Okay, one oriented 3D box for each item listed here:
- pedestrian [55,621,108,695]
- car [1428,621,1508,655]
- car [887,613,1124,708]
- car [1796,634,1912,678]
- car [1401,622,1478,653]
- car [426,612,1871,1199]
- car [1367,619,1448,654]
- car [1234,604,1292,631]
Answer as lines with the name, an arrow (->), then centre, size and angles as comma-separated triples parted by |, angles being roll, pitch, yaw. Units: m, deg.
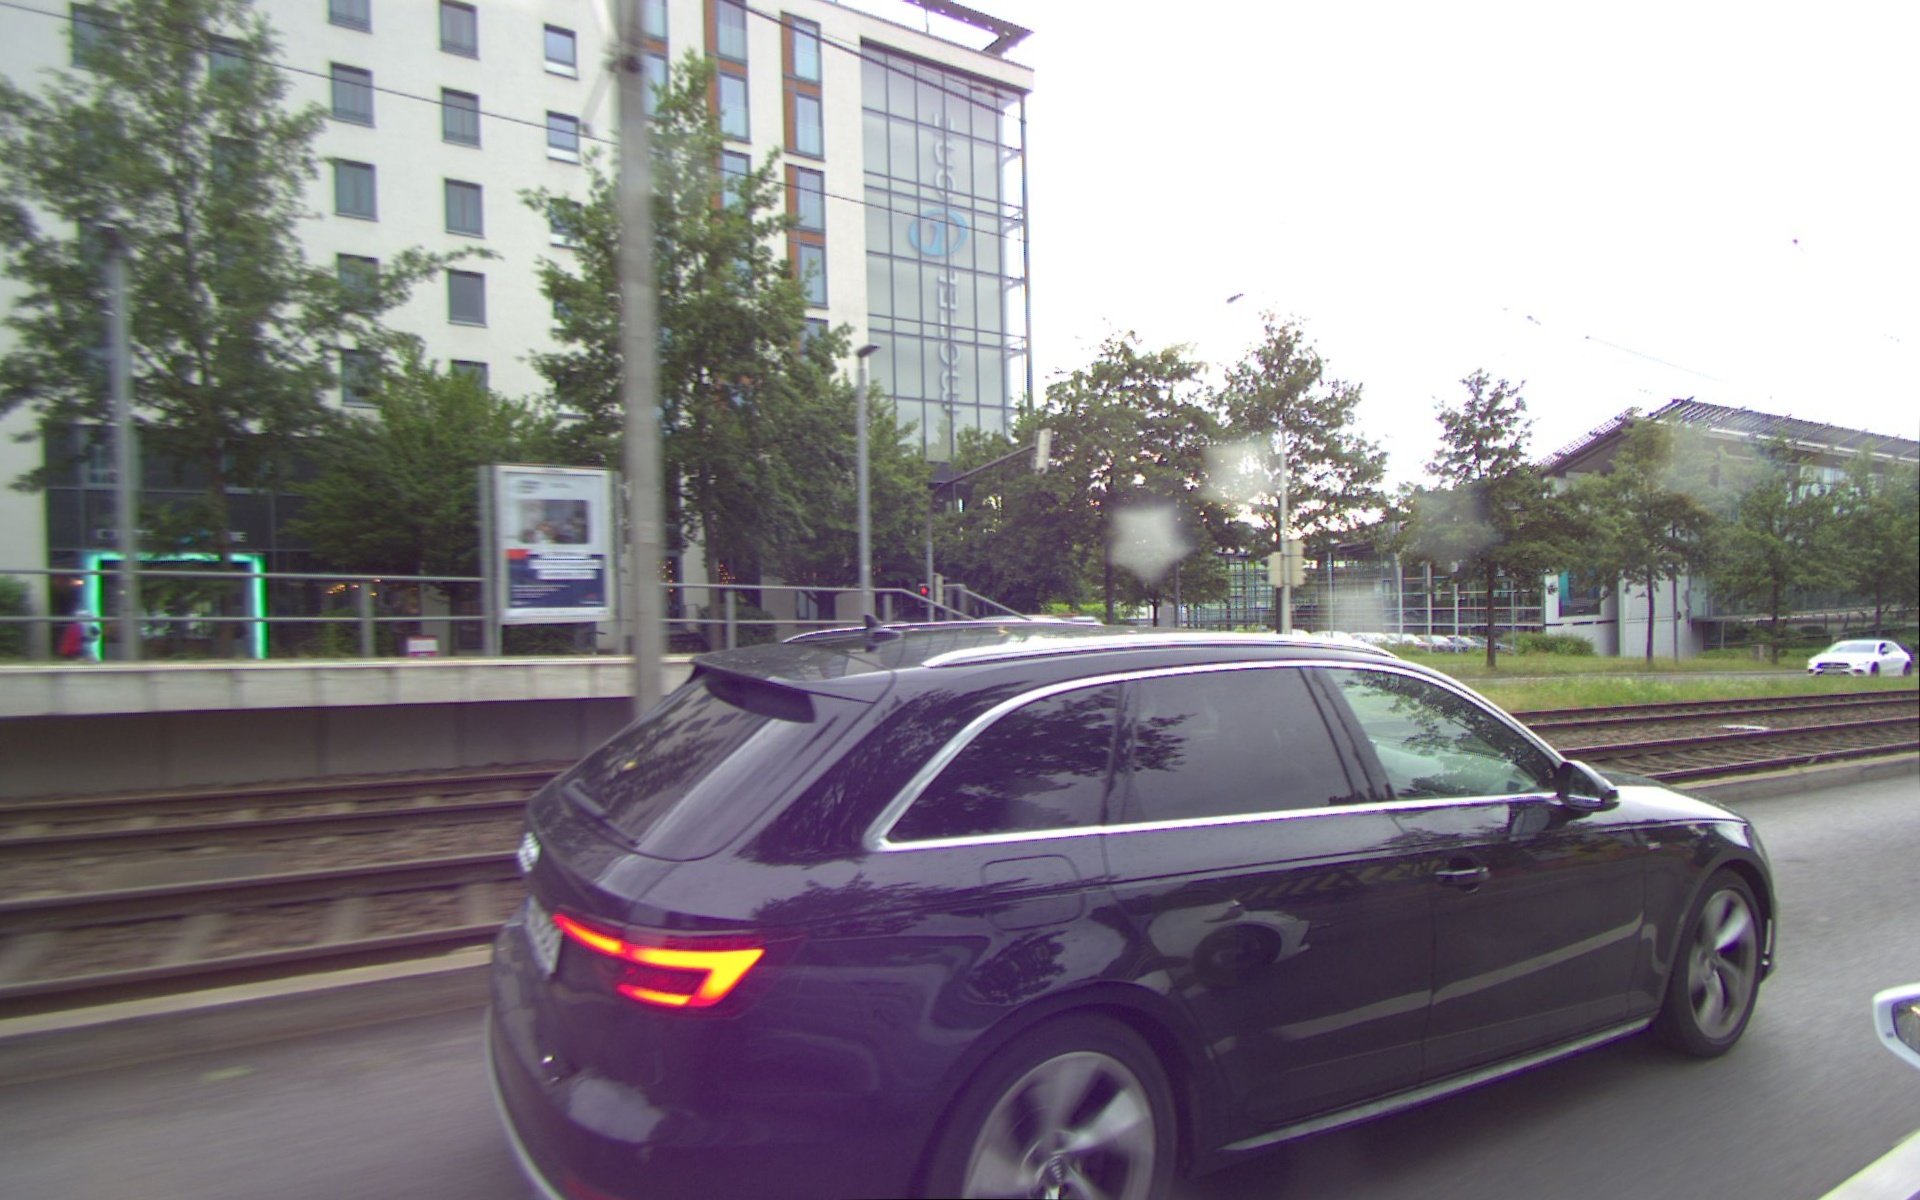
pedestrian -> -19.665, 1.277, 22.483 | 0.830, 1.599, 0.594 | 1, 0, -44
car -> 31.111, 2.323, 61.595 | 1.839, 1.861, 4.055 | 2, 0, -28
car -> 1.037, 1.269, 22.012 | 4.944, 1.871, 1.984 | 1, -2, -31
car -> 31.888, 1.971, 35.810 | 4.376, 1.463, 1.829 | 1, -3, -30
car -> 28.718, 2.227, 60.273 | 1.618, 1.639, 4.037 | 2, 0, -28
car -> 0.923, 0.795, 3.376 | 4.770, 1.453, 1.782 | 1, 0, -30
car -> 26.111, 2.101, 58.731 | 1.839, 1.861, 4.055 | 2, 0, -28
car -> 22.897, 1.291, 76.025 | 1.839, 1.861, 4.055 | 2, 0, -28
